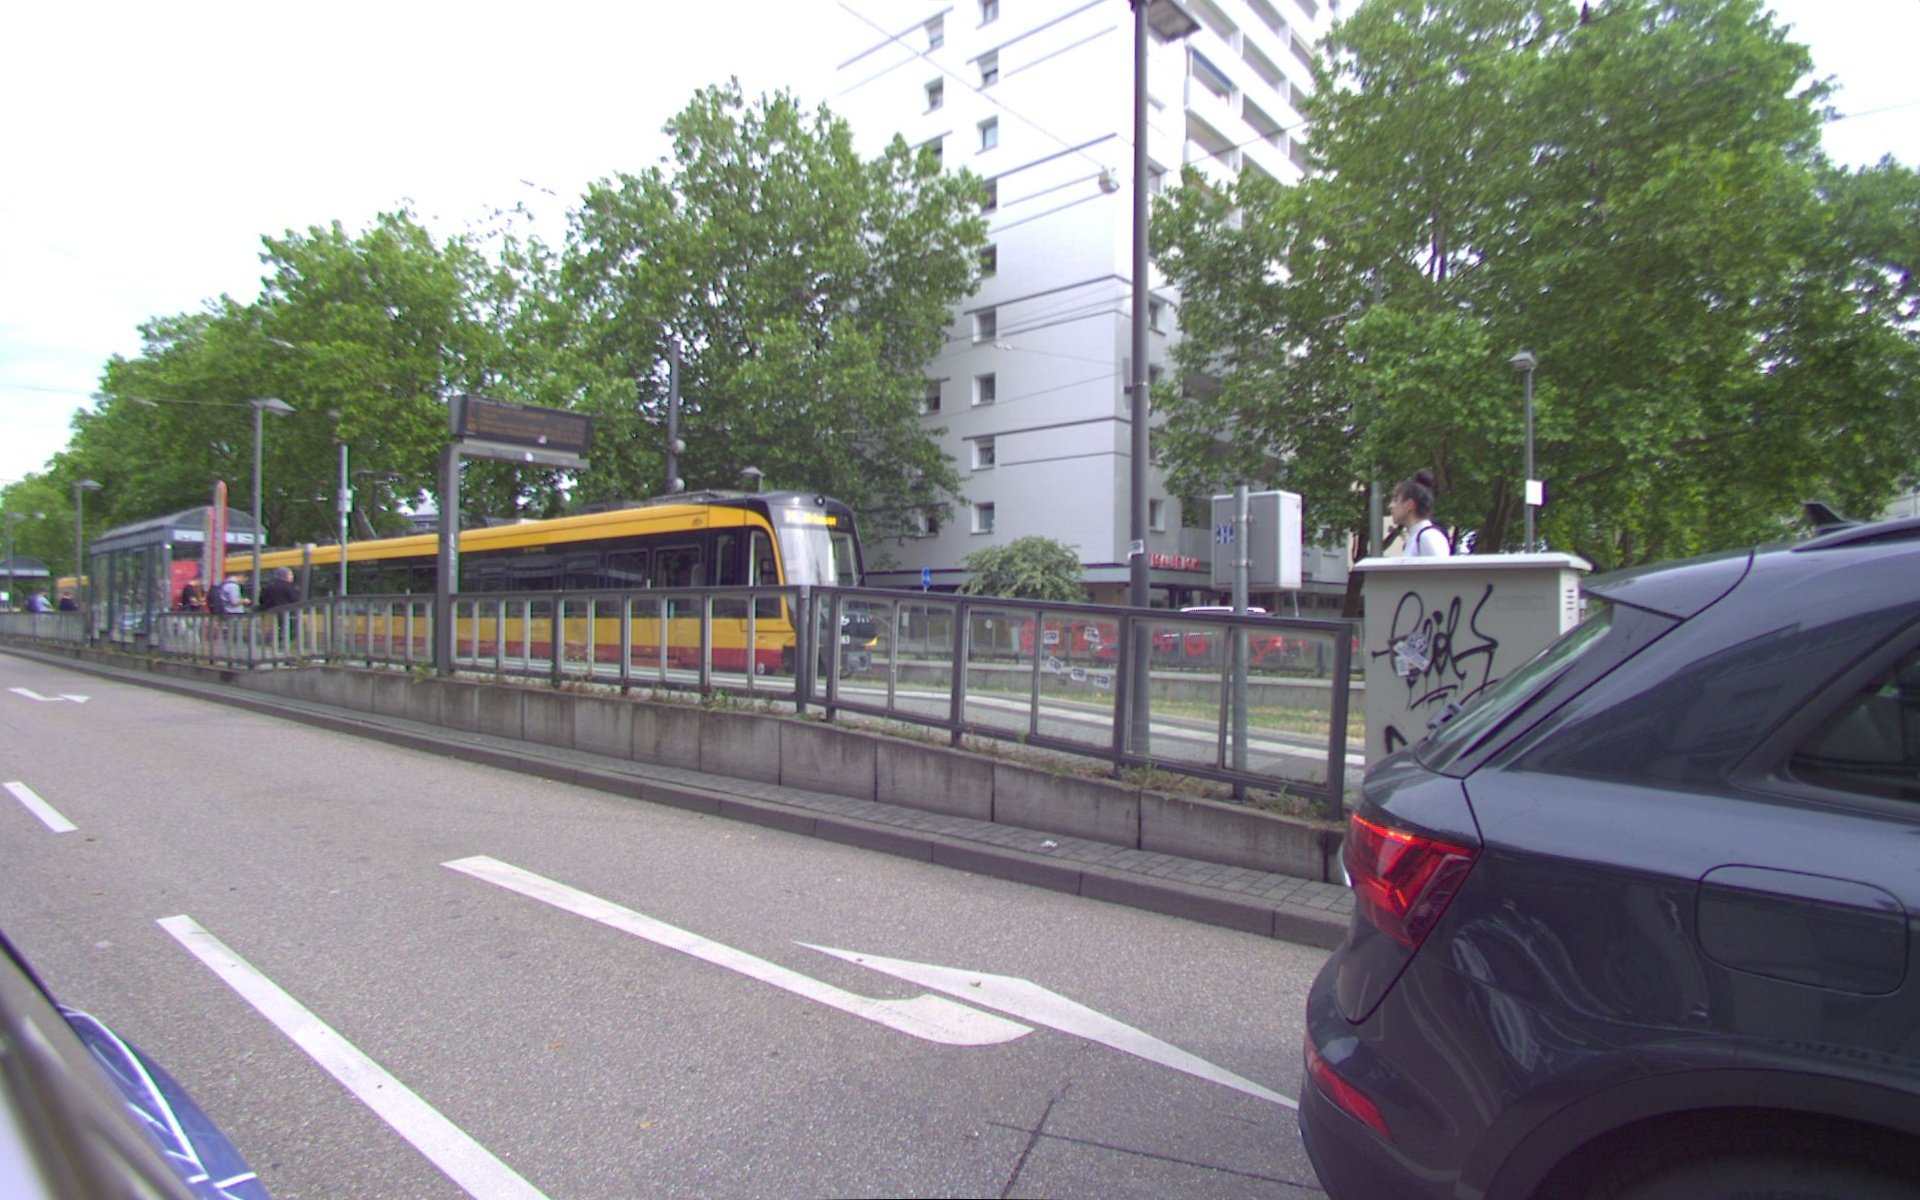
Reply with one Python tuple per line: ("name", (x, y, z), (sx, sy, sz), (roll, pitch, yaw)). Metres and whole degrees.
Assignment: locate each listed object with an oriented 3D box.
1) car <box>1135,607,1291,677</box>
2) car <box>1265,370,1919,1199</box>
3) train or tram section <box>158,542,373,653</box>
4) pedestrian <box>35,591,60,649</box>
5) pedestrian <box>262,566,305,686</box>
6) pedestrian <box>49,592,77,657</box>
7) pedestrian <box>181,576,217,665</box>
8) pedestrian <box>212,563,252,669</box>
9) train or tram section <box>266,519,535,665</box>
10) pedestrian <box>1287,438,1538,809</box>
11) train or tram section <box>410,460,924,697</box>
("car", (5.470, 0.890, 22.139), (3.187, 1.439, 1.577), (0, -1, 12))
("car", (2.677, 0.530, 0.999), (4.225, 1.649, 1.715), (-1, 0, 41))
("train or tram section", (-28.671, -0.012, 41.151), (16.241, 3.781, 3.295), (-1, 0, 41))
("pedestrian", (-29.046, 0.627, 32.215), (0.523, 1.818, 0.607), (-1, 0, -35))
("pedestrian", (-10.540, 0.391, 15.770), (0.513, 1.818, 0.606), (-1, 0, -37))
("pedestrian", (-25.578, 0.696, 28.853), (0.523, 1.818, 0.607), (-1, 0, -35))
("pedestrian", (-15.935, 0.421, 21.191), (0.467, 1.818, 0.607), (-1, 0, -24))
("pedestrian", (-12.761, 0.269, 17.745), (0.605, 1.818, 0.469), (-1, 0, 45))
("train or tram section", (-17.860, -0.152, 31.618), (12.543, 3.781, 3.295), (-1, 0, 41))
("pedestrian", (2.314, 0.108, 5.198), (0.979, 1.683, 0.711), (-1, 0, 44))
("train or tram section", (-7.448, -0.287, 22.415), (15.196, 3.781, 3.295), (-1, 0, 41))
